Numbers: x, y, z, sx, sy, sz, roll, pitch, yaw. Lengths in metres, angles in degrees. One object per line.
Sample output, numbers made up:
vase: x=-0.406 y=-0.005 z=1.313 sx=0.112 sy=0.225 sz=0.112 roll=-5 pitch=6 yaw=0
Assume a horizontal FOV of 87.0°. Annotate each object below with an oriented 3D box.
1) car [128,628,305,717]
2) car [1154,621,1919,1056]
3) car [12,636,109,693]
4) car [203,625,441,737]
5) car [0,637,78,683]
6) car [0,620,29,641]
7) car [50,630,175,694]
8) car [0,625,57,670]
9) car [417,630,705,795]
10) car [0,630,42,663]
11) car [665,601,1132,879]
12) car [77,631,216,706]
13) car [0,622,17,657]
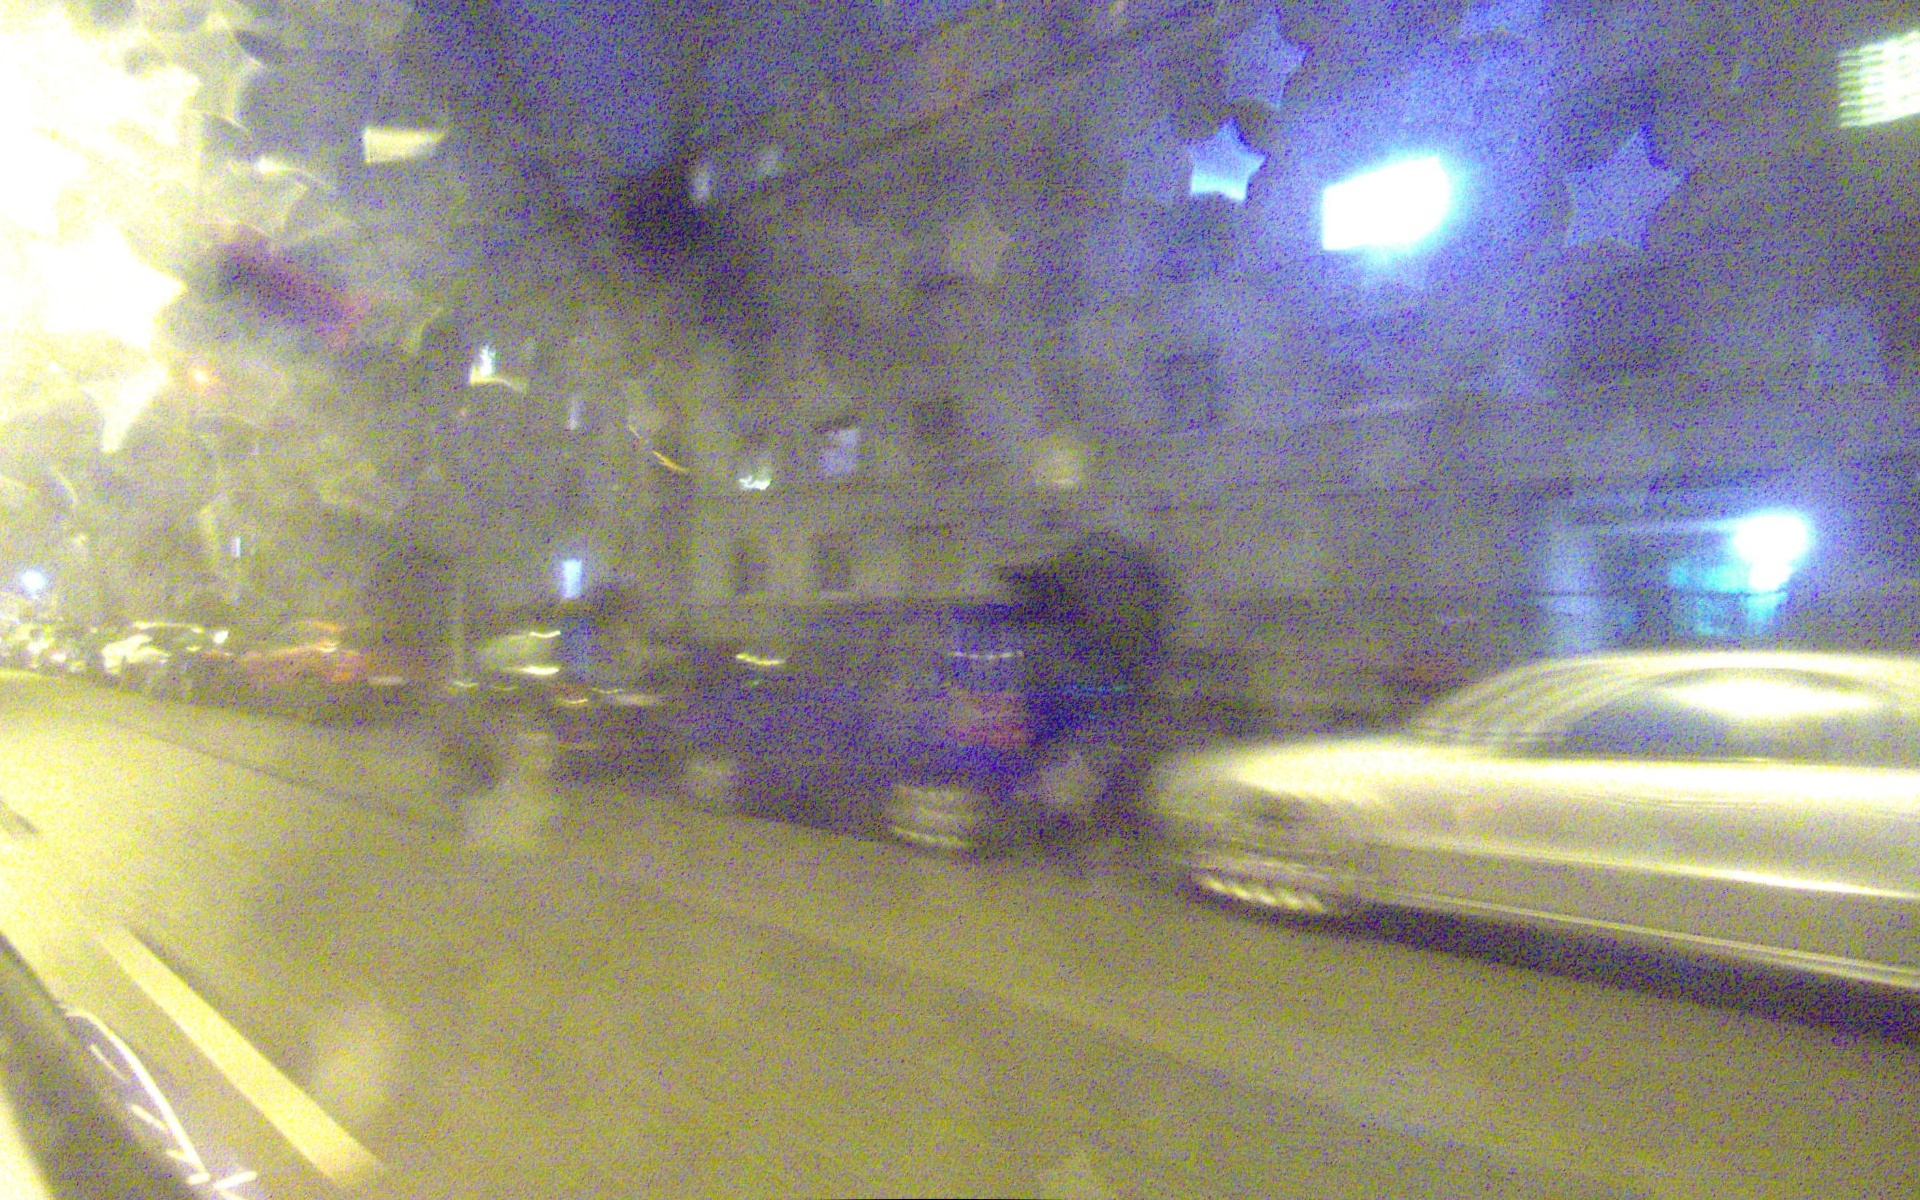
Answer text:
car: x=-14.631 y=1.382 z=19.836 sx=4.386 sy=1.551 sz=1.649 roll=-1 pitch=-6 yaw=39
car: x=3.438 y=0.881 z=4.364 sx=4.928 sy=1.468 sz=1.621 roll=-1 pitch=-6 yaw=39
car: x=-27.048 y=1.896 z=30.383 sx=4.390 sy=1.551 sz=1.648 roll=-2 pitch=-4 yaw=42
car: x=-10.533 y=1.269 z=16.616 sx=4.382 sy=1.610 sz=1.730 roll=-1 pitch=-5 yaw=36
car: x=-31.037 y=1.952 z=33.639 sx=4.667 sy=1.429 sz=1.604 roll=-1 pitch=-4 yaw=37
car: x=-80.892 y=2.520 z=84.415 sx=4.472 sy=1.719 sz=1.855 roll=3 pitch=-4 yaw=-35
car: x=-22.356 y=1.593 z=26.639 sx=4.386 sy=1.551 sz=1.649 roll=-1 pitch=-4 yaw=39
car: x=-35.351 y=1.764 z=37.947 sx=4.058 sy=1.551 sz=1.688 roll=-2 pitch=-5 yaw=42
car: x=-4.308 y=1.094 z=10.728 sx=3.373 sy=1.471 sz=1.416 roll=-2 pitch=-6 yaw=42
car: x=-39.189 y=1.885 z=41.523 sx=4.637 sy=1.278 sz=1.818 roll=-2 pitch=-4 yaw=43
car: x=-0.566 y=0.909 z=7.634 sx=3.370 sy=1.632 sz=1.459 roll=-1 pitch=-6 yaw=39
car: x=-18.707 y=1.543 z=23.212 sx=4.389 sy=1.551 sz=1.648 roll=-1 pitch=-6 yaw=41
car: x=-43.296 y=1.721 z=44.787 sx=4.394 sy=1.484 sz=1.776 roll=-1 pitch=-4 yaw=41
